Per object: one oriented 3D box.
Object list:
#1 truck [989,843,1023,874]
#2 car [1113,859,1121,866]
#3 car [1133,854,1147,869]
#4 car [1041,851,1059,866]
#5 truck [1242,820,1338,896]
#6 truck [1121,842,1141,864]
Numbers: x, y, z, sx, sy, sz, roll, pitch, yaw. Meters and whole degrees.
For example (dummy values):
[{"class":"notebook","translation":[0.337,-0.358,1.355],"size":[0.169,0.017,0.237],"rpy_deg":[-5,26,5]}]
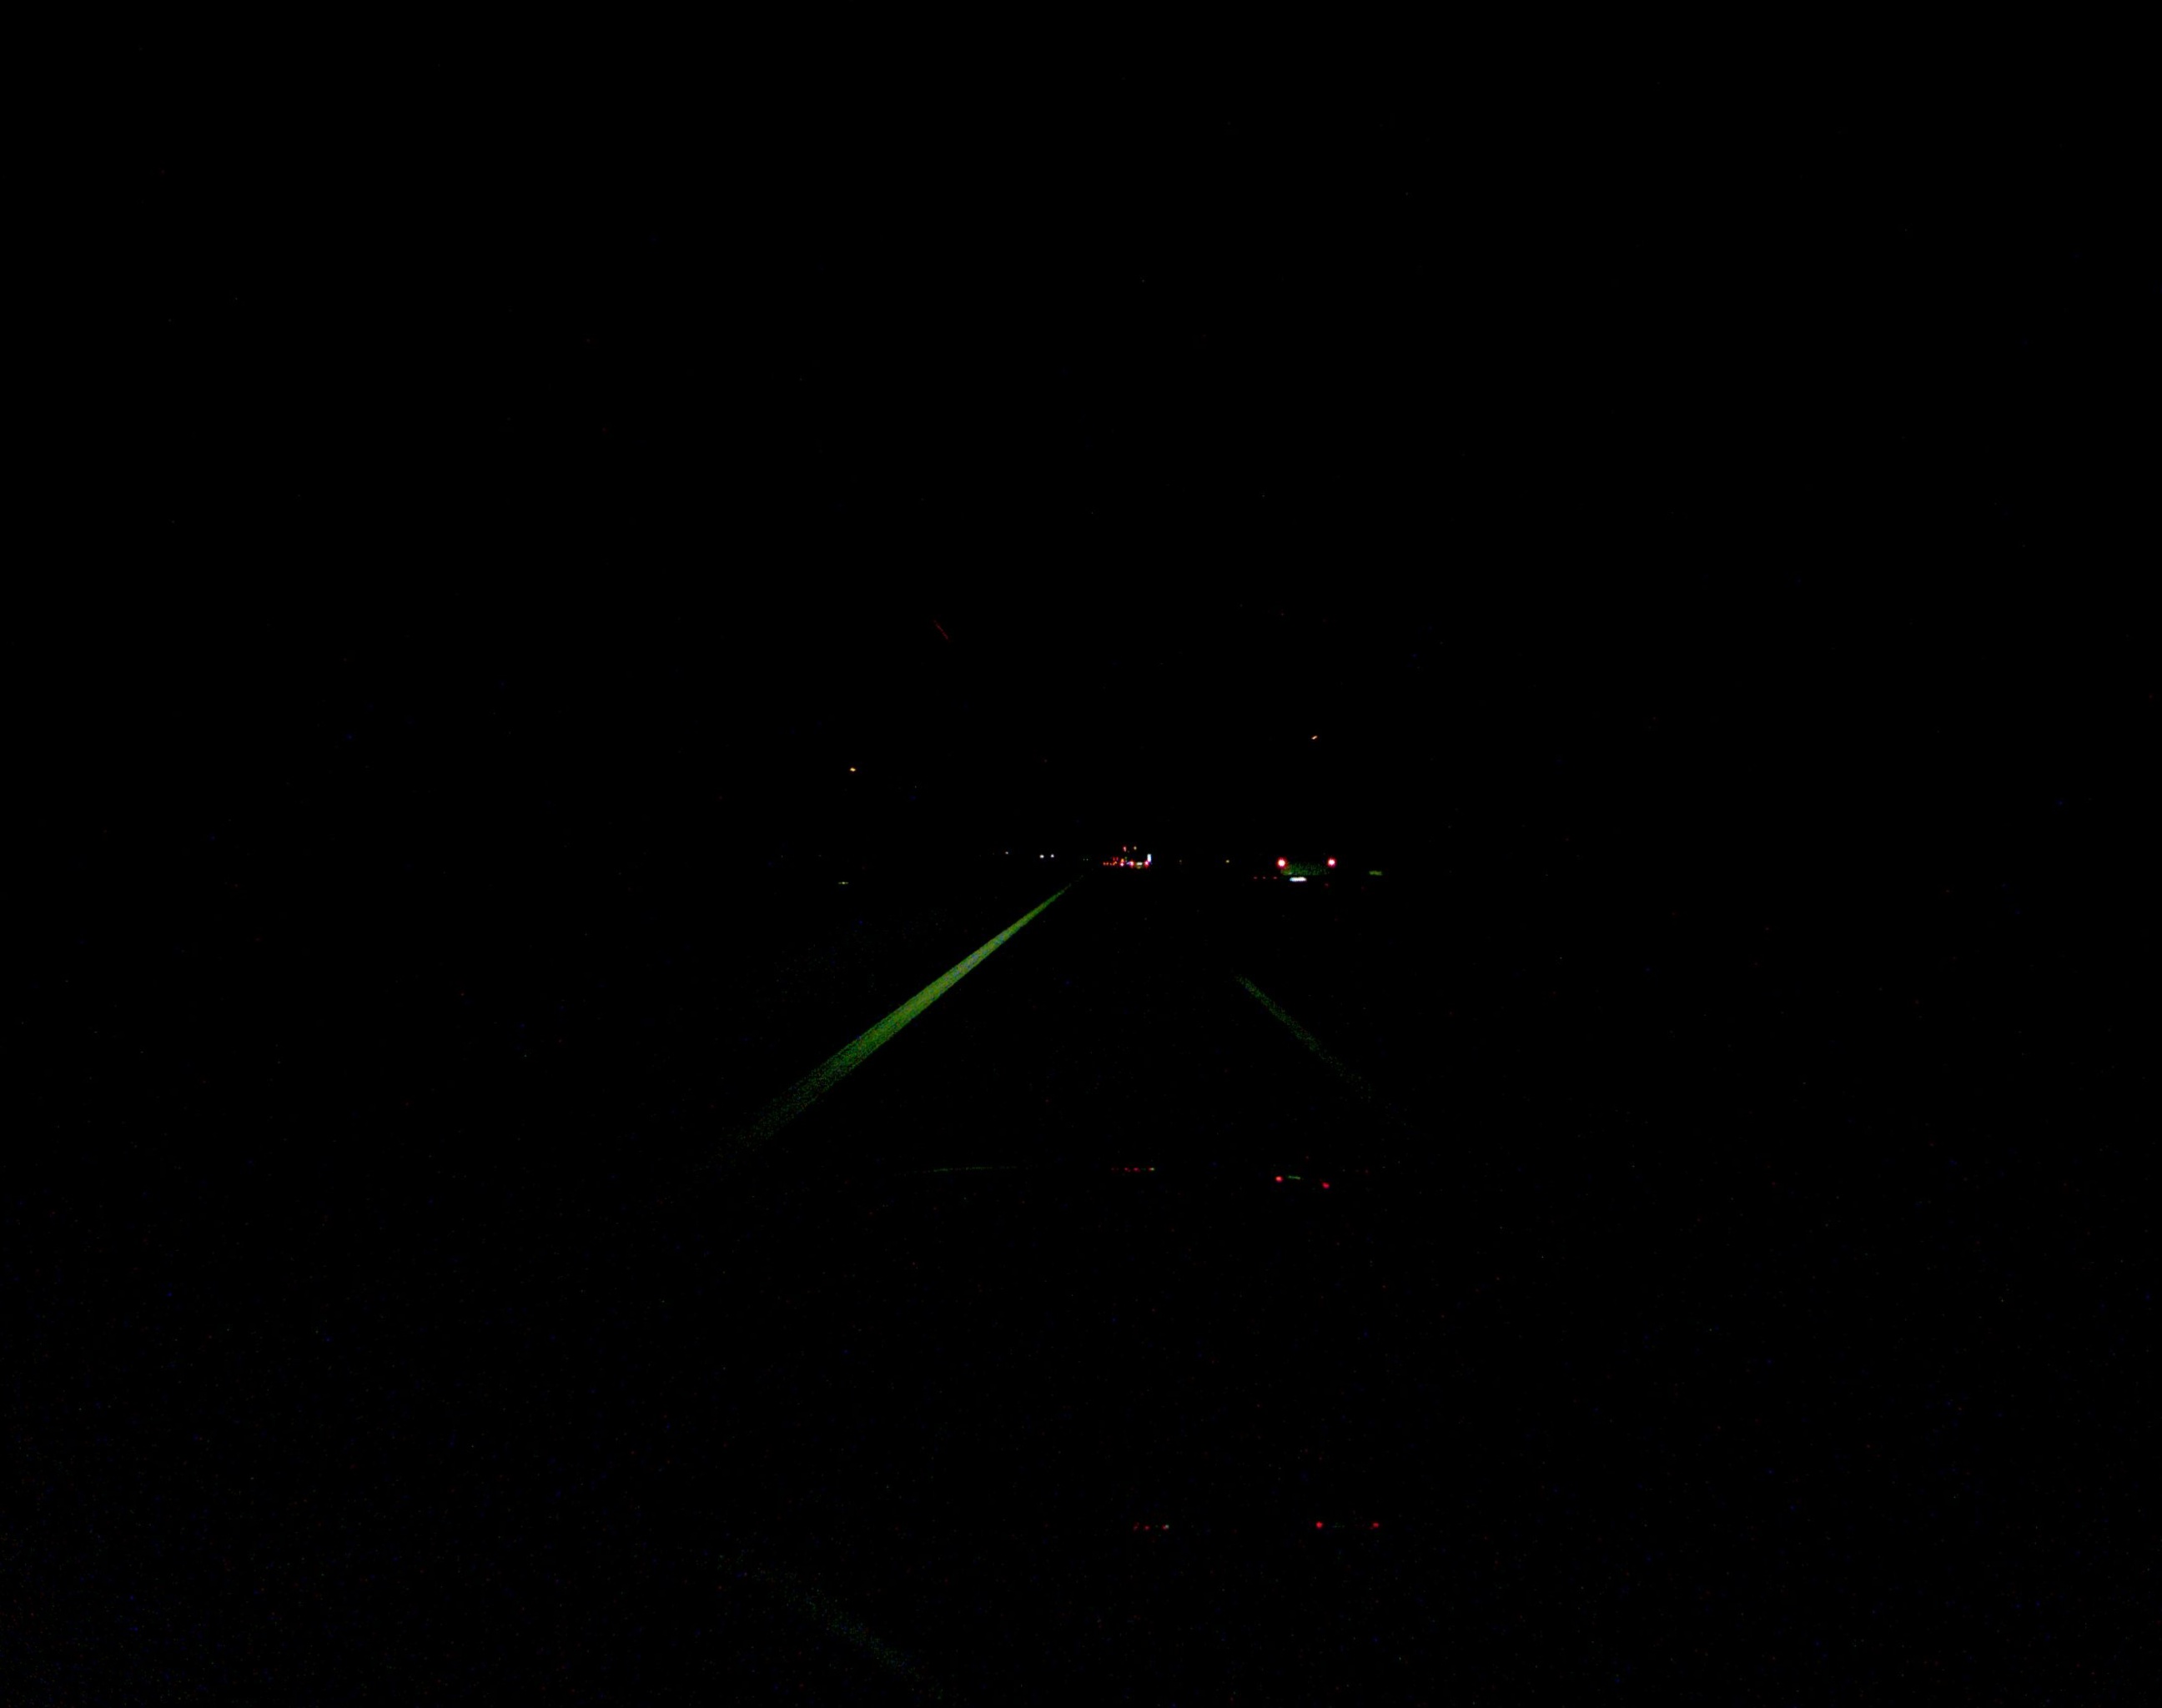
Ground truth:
[{"class":"truck","translation":[-11.623,0.546,128.281],"size":[3.234,4.488,17.448],"rpy_deg":[0,1,2]},{"class":"car","translation":[8.580,1.964,194.901],"size":[1.813,1.466,4.251],"rpy_deg":[0,1,3]},{"class":"car","translation":[5.946,0.739,82.229],"size":[1.341,1.387,3.504],"rpy_deg":[0,1,3]},{"class":"car","translation":[-4.605,0.666,120.949],"size":[2.200,2.013,6.948],"rpy_deg":[0,1,2]},{"class":"truck","translation":[8.107,0.074,32.484],"size":[2.069,2.690,7.309],"rpy_deg":[0,1,1]},{"class":"truck","translation":[8.072,-0.220,132.863],"size":[3.032,3.324,10.149],"rpy_deg":[0,1,2]}]
